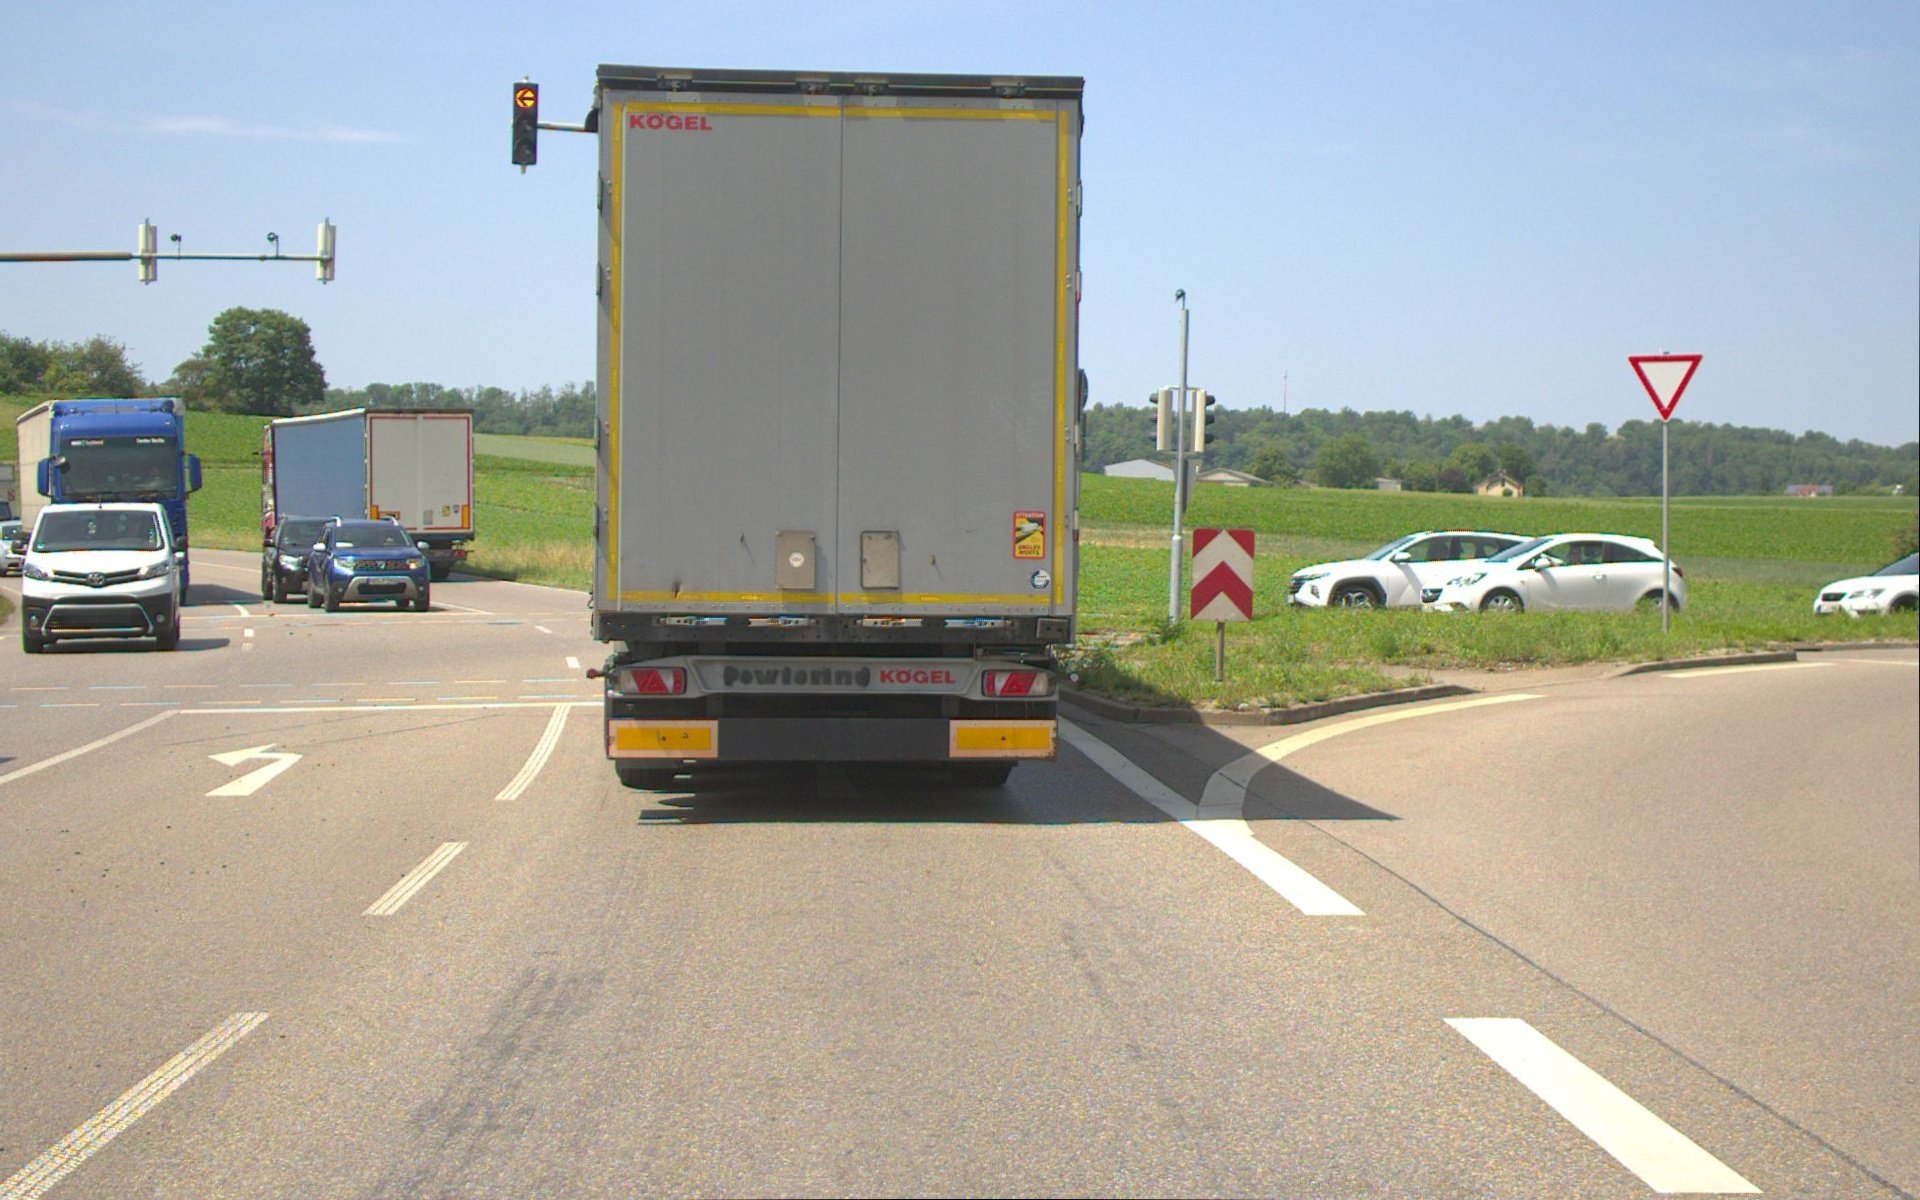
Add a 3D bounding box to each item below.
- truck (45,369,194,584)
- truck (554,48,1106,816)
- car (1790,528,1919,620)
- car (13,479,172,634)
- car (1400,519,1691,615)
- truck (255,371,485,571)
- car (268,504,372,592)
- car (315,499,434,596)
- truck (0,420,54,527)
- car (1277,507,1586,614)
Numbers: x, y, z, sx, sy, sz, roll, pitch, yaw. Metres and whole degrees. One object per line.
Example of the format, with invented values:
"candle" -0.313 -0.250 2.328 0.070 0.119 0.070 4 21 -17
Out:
"truck" -16.588 -2.414 67.572 2.566 4.016 6.562 -1 2 -16
"truck" -1.061 -0.967 22.609 2.807 3.932 9.593 1 1 -5
"car" 15.390 -0.402 54.332 4.091 1.414 1.801 0 0 -20
"car" -11.255 -0.580 44.687 1.870 1.880 4.953 -1 1 -14
"car" 8.874 -0.491 52.238 3.958 1.414 1.829 0 0 -12
"truck" -15.156 -3.126 86.925 2.960 4.568 16.321 -1 1 -20
"car" -12.531 -1.027 67.189 1.770 1.652 4.001 -1 1 -14
"car" -10.450 -0.946 61.178 1.770 1.652 4.001 -1 1 -14
"truck" -41.692 -5.097 141.346 3.638 4.115 13.094 1 0 -38
"car" 7.679 -0.624 56.229 4.625 1.602 1.999 1 -1 -7
